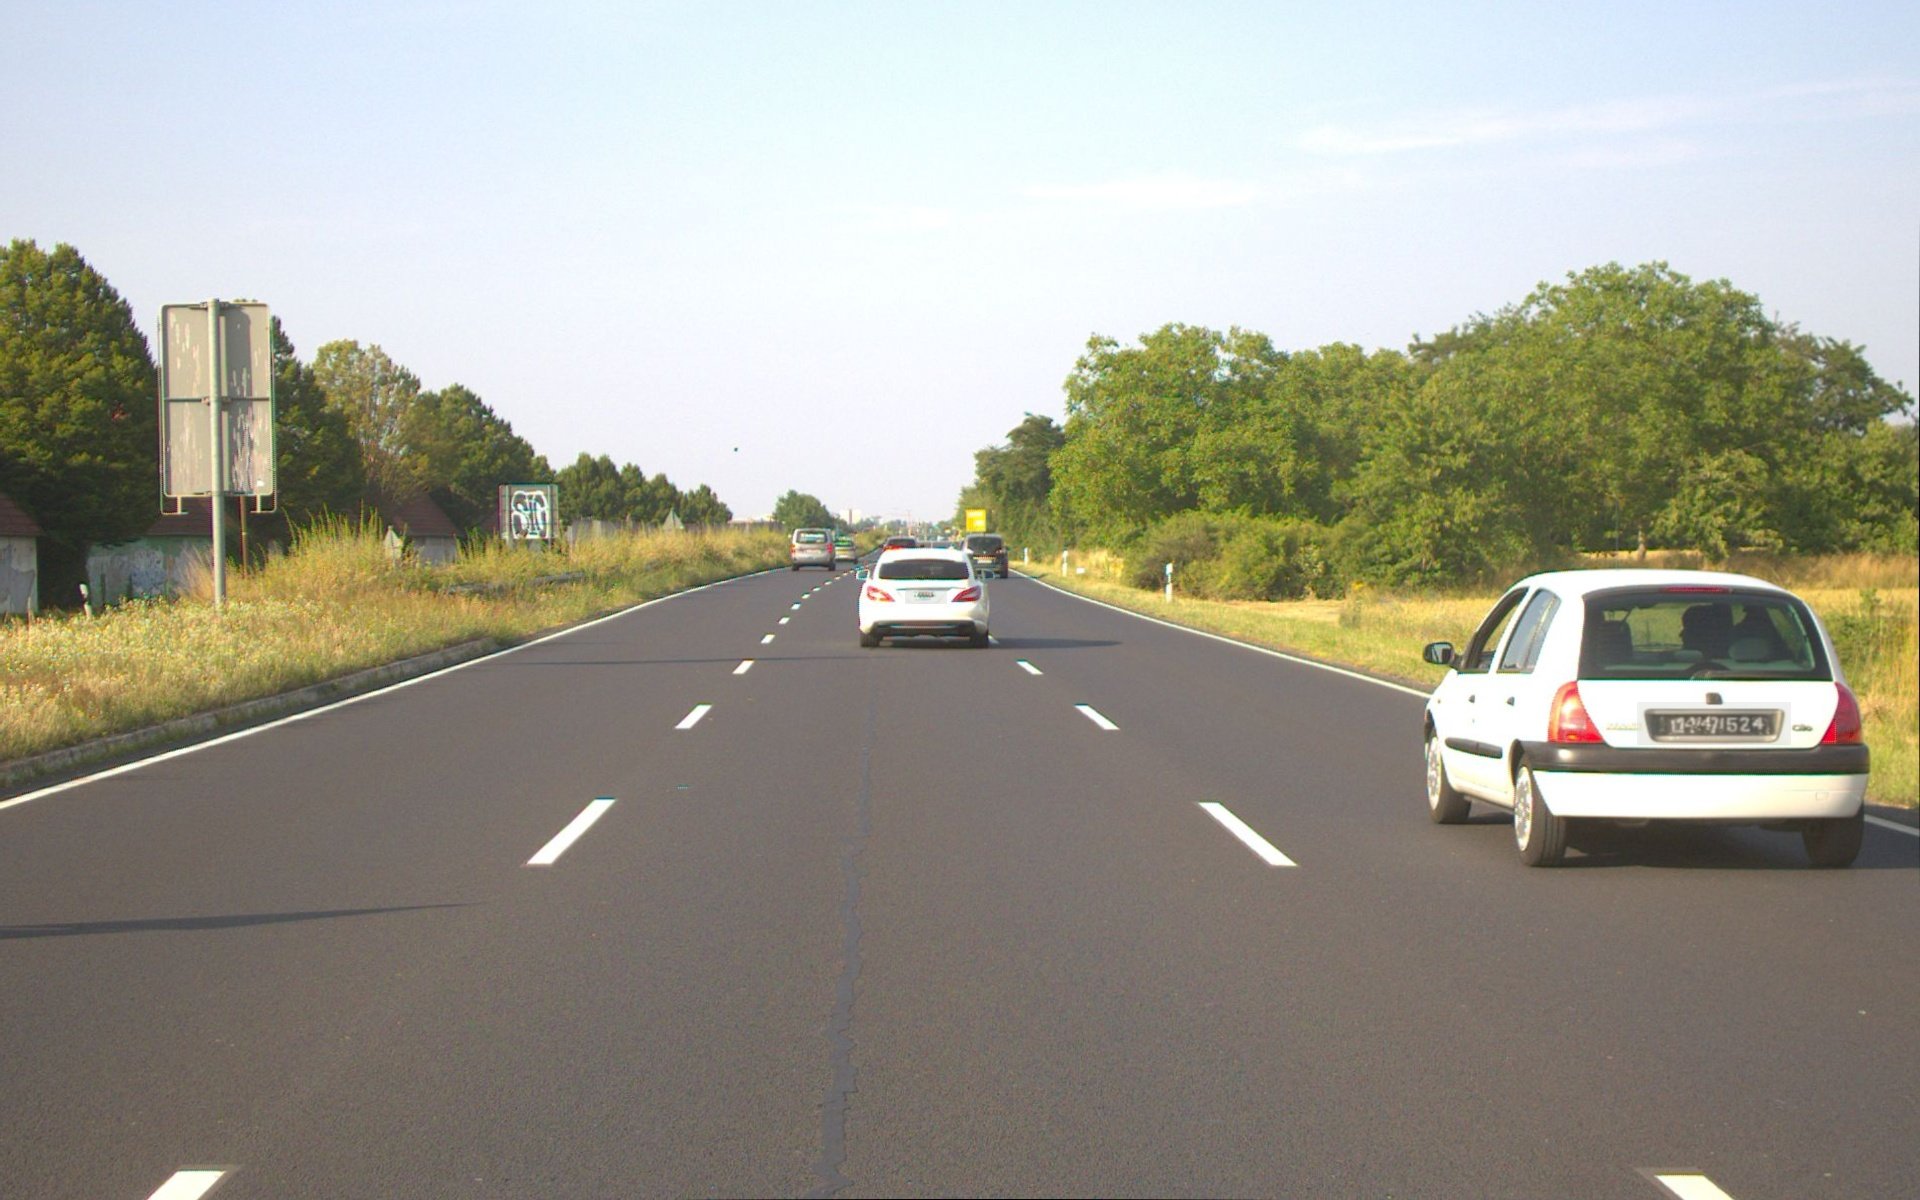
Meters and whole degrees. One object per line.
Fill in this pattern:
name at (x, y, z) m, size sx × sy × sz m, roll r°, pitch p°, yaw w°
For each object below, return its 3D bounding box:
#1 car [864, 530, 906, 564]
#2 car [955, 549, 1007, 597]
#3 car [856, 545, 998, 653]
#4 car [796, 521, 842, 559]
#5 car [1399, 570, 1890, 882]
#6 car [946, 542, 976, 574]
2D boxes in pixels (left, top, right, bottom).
car at (-3.306, -2.343, 151.527) m, size 1.812 × 1.431 × 3.859 m, roll 1°, pitch 0°, yaw -1°
car at (0.772, -0.999, 127.954) m, size 1.828 × 1.722 × 4.000 m, roll 1°, pitch 0°, yaw -1°
car at (-0.485, -0.021, 50.722) m, size 1.993 × 1.511 × 4.000 m, roll 1°, pitch 0°, yaw -1°
car at (-6.236, -2.639, 152.258) m, size 1.758 × 1.612 × 4.000 m, roll 1°, pitch 0°, yaw 1°
car at (3.332, 0.559, 17.426) m, size 1.617 × 1.382 × 3.952 m, roll 1°, pitch 0°, yaw -1°
car at (0.072, -2.597, 213.006) m, size 1.803 × 1.897 × 3.559 m, roll 1°, pitch 0°, yaw 1°
